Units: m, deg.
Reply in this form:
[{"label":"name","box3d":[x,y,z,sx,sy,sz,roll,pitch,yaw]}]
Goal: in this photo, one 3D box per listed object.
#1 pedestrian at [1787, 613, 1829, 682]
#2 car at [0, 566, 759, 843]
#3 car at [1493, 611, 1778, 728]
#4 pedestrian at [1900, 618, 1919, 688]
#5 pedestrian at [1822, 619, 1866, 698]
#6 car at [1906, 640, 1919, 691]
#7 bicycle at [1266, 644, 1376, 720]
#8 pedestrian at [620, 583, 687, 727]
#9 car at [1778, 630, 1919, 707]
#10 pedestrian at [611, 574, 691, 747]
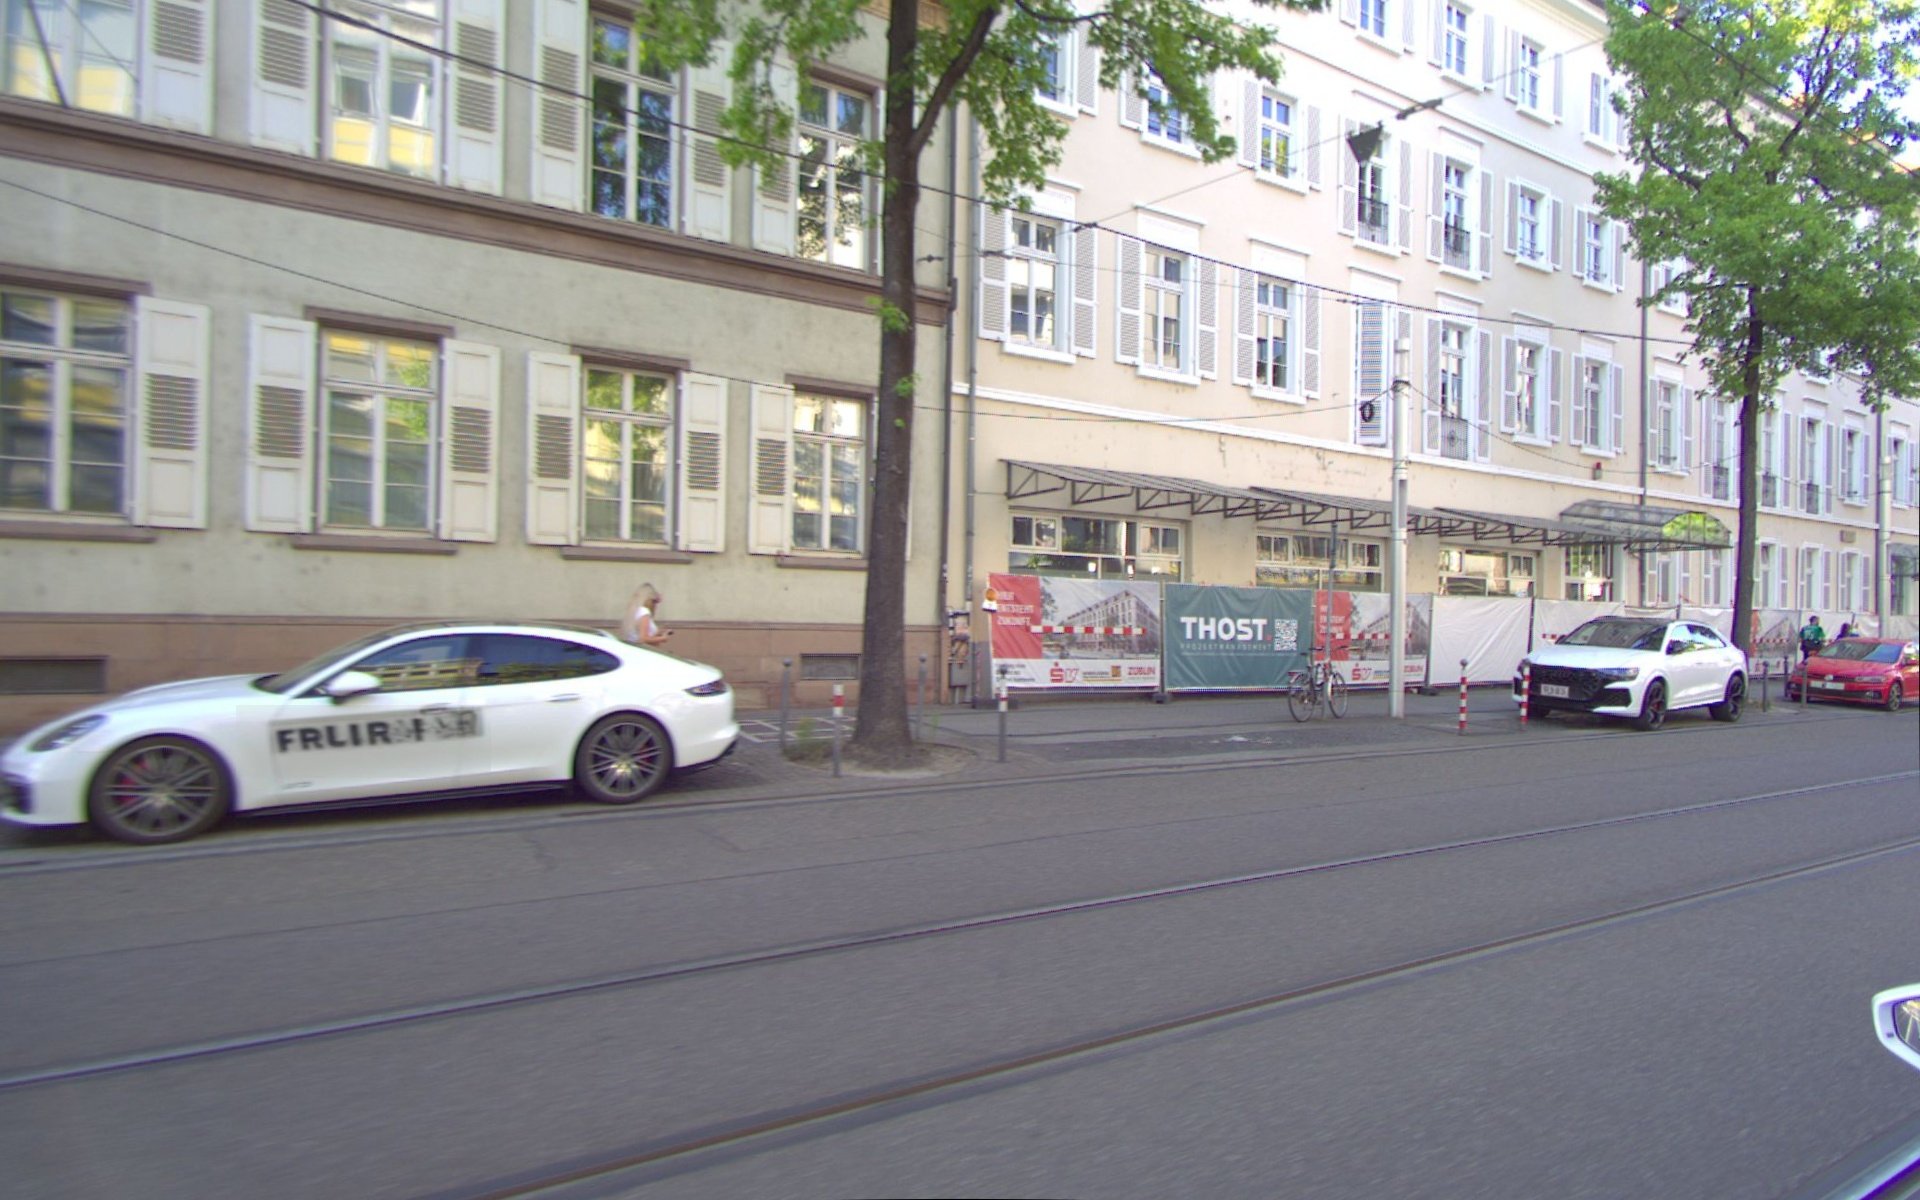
[{"label":"pedestrian","box3d":[22.937,1.268,27.171,0.669,1.830,0.703,1,-1,-35]},{"label":"car","box3d":[-4.282,0.671,8.084,4.851,1.662,1.937,2,1,-30]},{"label":"car","box3d":[11.462,1.104,16.962,4.952,1.714,1.953,2,-1,-29]},{"label":"pedestrian","box3d":[28.204,1.549,29.510,0.668,2.031,0.703,1,-1,-33]},{"label":"pedestrian","box3d":[23.316,1.521,26.492,0.668,2.031,0.703,1,-1,-33]},{"label":"car","box3d":[27.084,1.764,26.556,3.953,1.309,1.984,2,-1,-30]},{"label":"bicycle","box3d":[5.502,1.214,15.243,1.990,1.064,0.589,2,-1,-37]},{"label":"pedestrian","box3d":[-3.766,0.657,12.320,0.640,1.702,0.671,1,-1,-30]},{"label":"car","box3d":[19.946,1.462,22.011,4.182,1.519,1.681,2,-1,-29]},{"label":"pedestrian","box3d":[-3.271,0.623,10.616,0.648,1.743,0.683,1,-1,-30]}]
